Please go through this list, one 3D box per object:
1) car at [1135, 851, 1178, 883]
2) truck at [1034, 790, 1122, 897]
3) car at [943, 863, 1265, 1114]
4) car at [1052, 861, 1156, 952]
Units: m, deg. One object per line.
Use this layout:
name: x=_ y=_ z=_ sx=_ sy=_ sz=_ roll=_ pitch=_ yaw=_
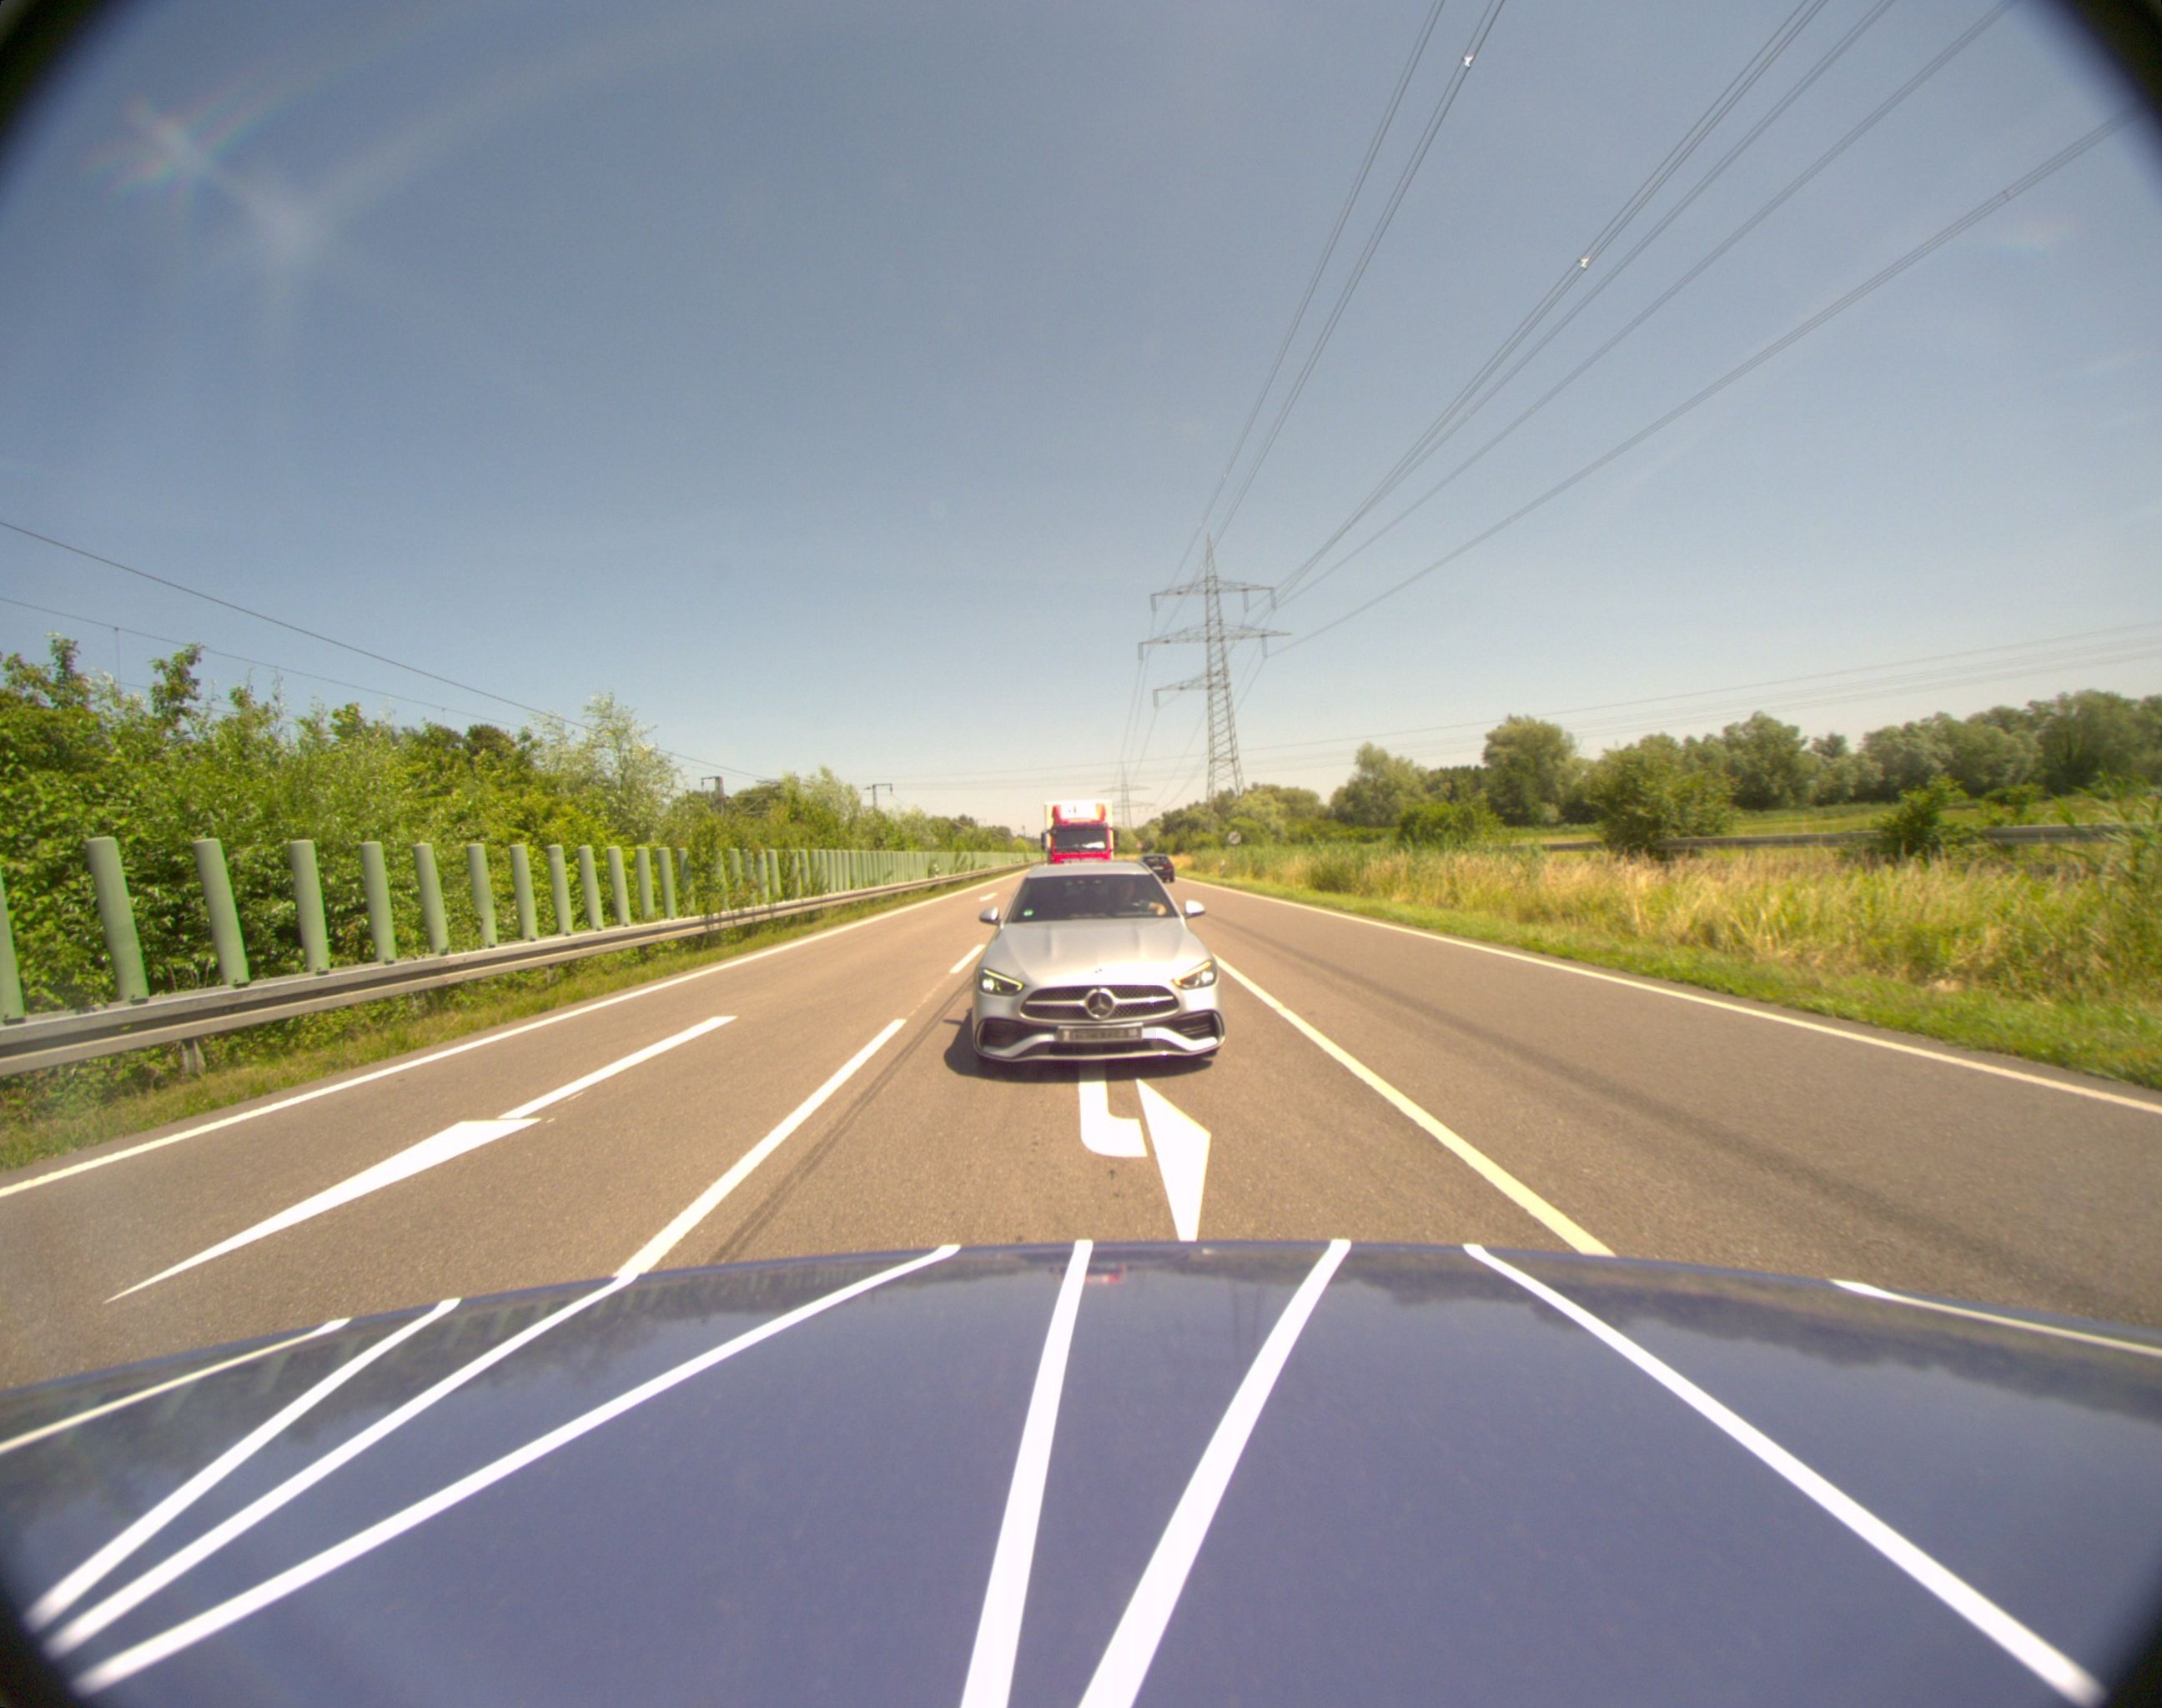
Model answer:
car: x=3.794 y=0.625 z=38.762 sx=1.786 sy=1.455 sz=4.000 roll=-3 pitch=0 yaw=1
truck: x=-0.105 y=-0.403 z=30.727 sx=2.907 sy=3.641 sz=7.155 roll=-4 pitch=0 yaw=0
car: x=0.159 y=0.884 z=7.048 sx=1.998 sy=1.437 sz=4.467 roll=-2 pitch=1 yaw=0
car: x=0.417 y=0.907 z=14.939 sx=1.698 sy=1.385 sz=4.467 roll=-2 pitch=0 yaw=1
